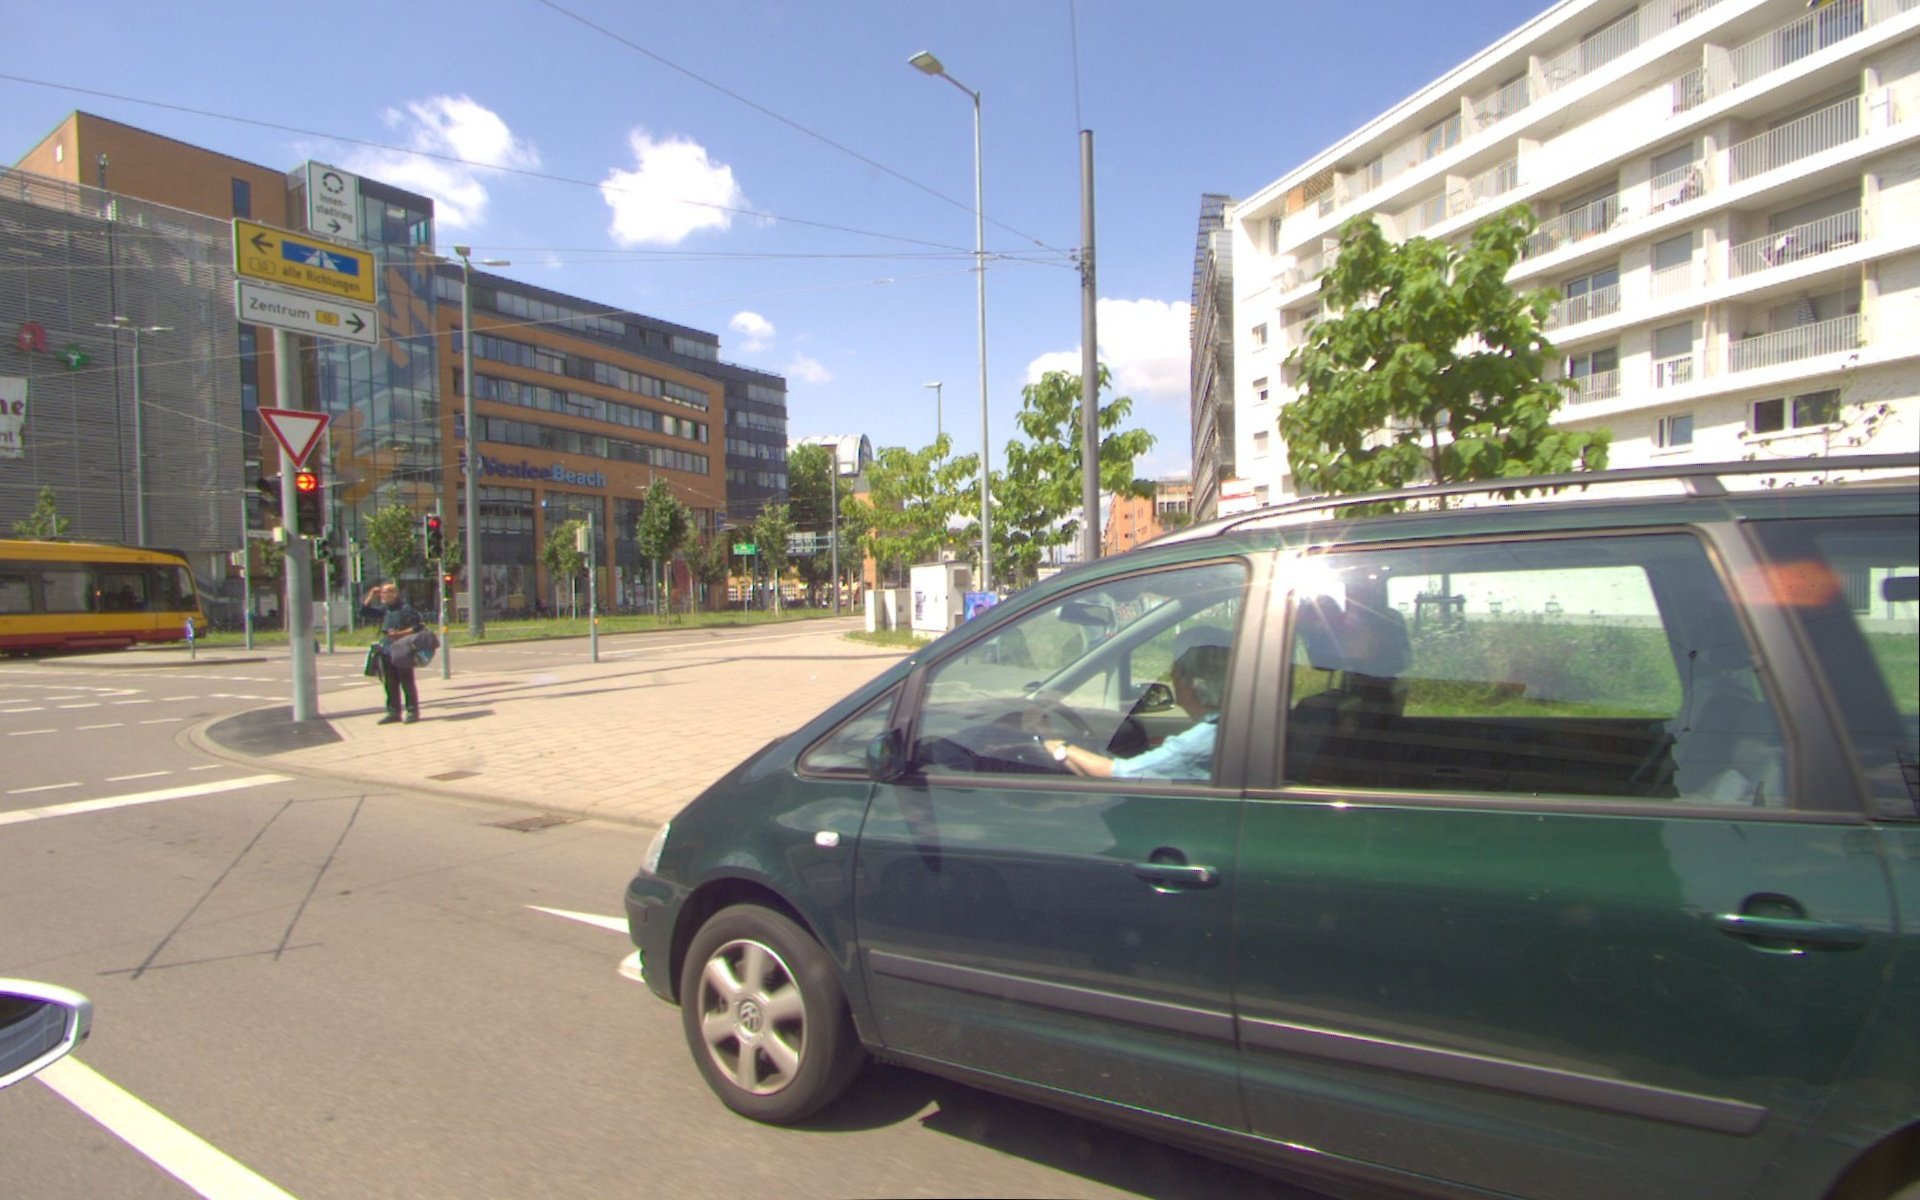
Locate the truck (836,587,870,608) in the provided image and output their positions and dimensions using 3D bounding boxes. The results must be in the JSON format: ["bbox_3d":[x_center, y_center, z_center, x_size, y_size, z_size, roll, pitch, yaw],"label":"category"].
[{"bbox_3d":[-11.351,-0.226,106.204,1.962,2.113,5.519,0,0,12],"label":"truck"}]

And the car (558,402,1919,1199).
[{"bbox_3d":[1.259,0.599,2.761,4.958,1.779,1.815,0,0,31],"label":"car"}]

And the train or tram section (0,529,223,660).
[{"bbox_3d":[-28.245,-0.140,28.978,3.006,3.668,12.631,0,0,9],"label":"train or tram section"}]

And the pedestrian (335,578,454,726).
[{"bbox_3d":[-6.876,0.614,12.226,0.901,1.725,0.808,-1,2,5],"label":"pedestrian"}]
